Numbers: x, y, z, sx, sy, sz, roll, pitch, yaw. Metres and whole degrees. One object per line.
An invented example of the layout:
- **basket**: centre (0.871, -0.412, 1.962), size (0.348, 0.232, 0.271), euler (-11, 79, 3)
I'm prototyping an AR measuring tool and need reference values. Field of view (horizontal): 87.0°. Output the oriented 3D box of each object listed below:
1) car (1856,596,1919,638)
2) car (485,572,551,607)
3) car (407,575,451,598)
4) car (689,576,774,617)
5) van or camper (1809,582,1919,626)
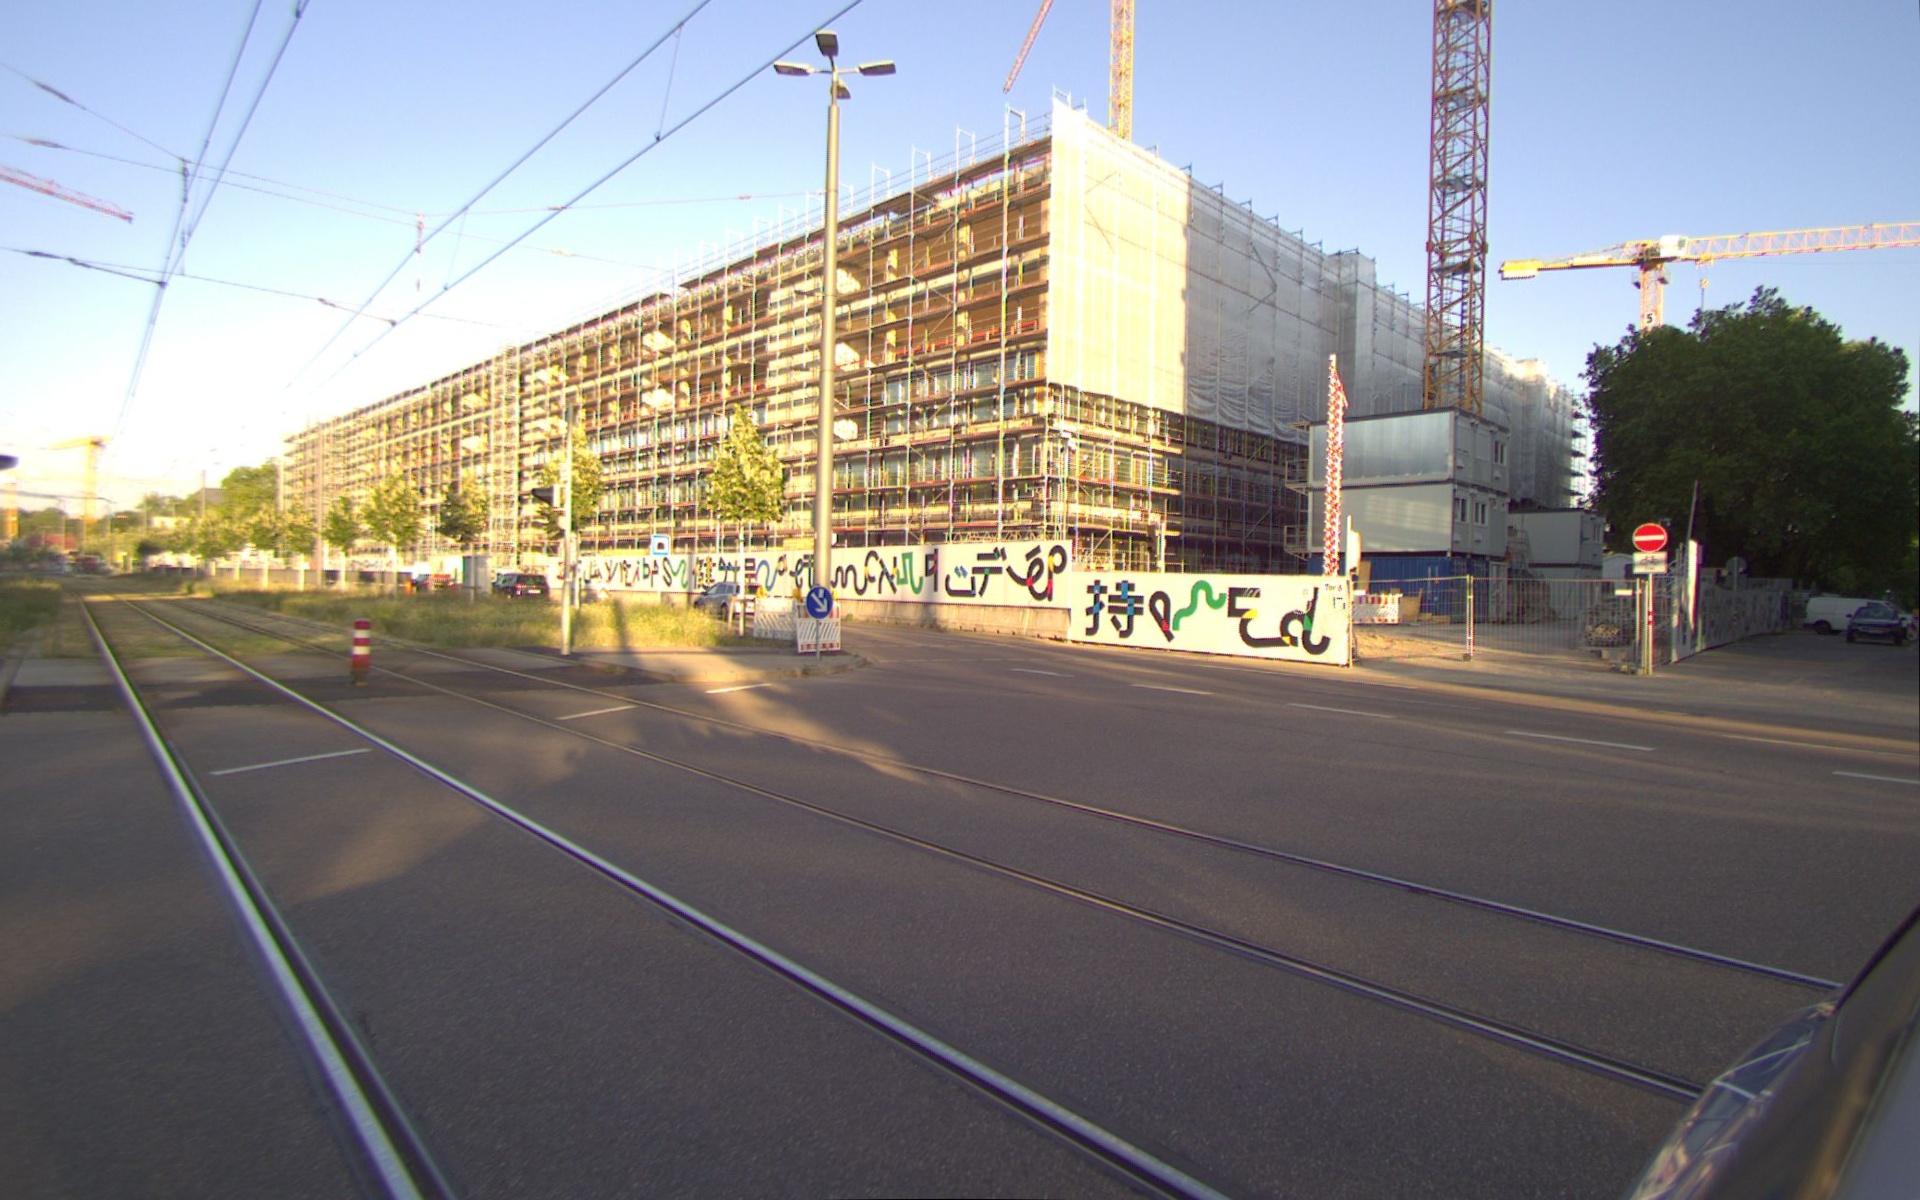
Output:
- **car**: centre (39.353, 0.674, 42.778), size (3.646, 1.617, 2.004), euler (0, 2, -45)
- **car**: centre (-21.187, -0.533, 48.431), size (1.755, 1.537, 4.063), euler (3, 0, -41)
- **car**: centre (-39.078, -0.983, 74.432), size (1.965, 1.593, 3.994), euler (0, 1, -41)
- **car**: centre (-9.095, -0.165, 40.083), size (1.638, 1.473, 4.065), euler (2, 0, -39)
- **van or camper**: centre (47.504, 0.213, 52.411), size (2.444, 2.150, 4.955), euler (0, -1, -34)
